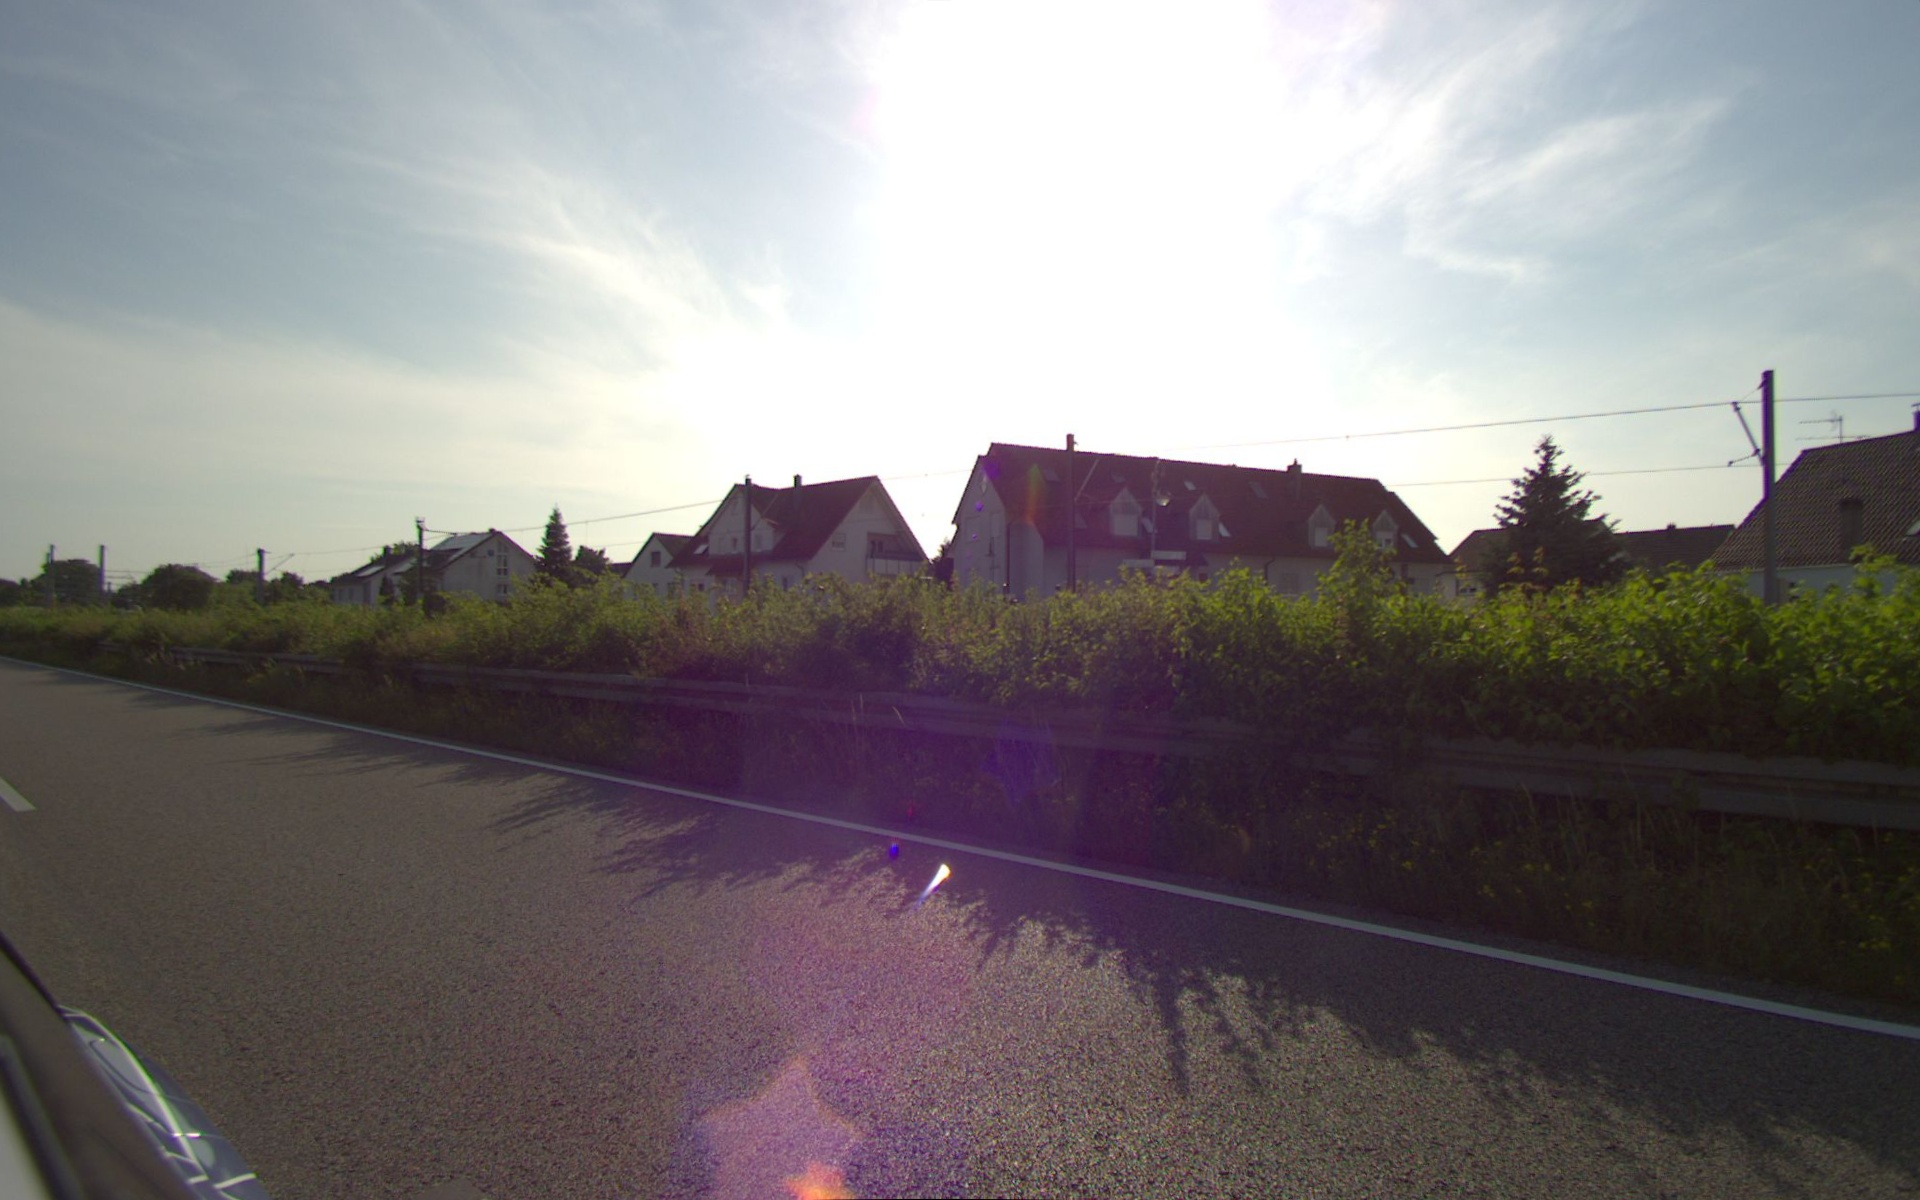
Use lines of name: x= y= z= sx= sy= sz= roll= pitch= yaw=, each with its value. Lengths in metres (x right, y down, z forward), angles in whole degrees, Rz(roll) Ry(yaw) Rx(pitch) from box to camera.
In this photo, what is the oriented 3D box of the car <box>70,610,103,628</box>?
car: x=-87.992 y=1.891 z=101.912 sx=3.998 sy=1.763 sz=1.973 roll=-1 pitch=0 yaw=41
